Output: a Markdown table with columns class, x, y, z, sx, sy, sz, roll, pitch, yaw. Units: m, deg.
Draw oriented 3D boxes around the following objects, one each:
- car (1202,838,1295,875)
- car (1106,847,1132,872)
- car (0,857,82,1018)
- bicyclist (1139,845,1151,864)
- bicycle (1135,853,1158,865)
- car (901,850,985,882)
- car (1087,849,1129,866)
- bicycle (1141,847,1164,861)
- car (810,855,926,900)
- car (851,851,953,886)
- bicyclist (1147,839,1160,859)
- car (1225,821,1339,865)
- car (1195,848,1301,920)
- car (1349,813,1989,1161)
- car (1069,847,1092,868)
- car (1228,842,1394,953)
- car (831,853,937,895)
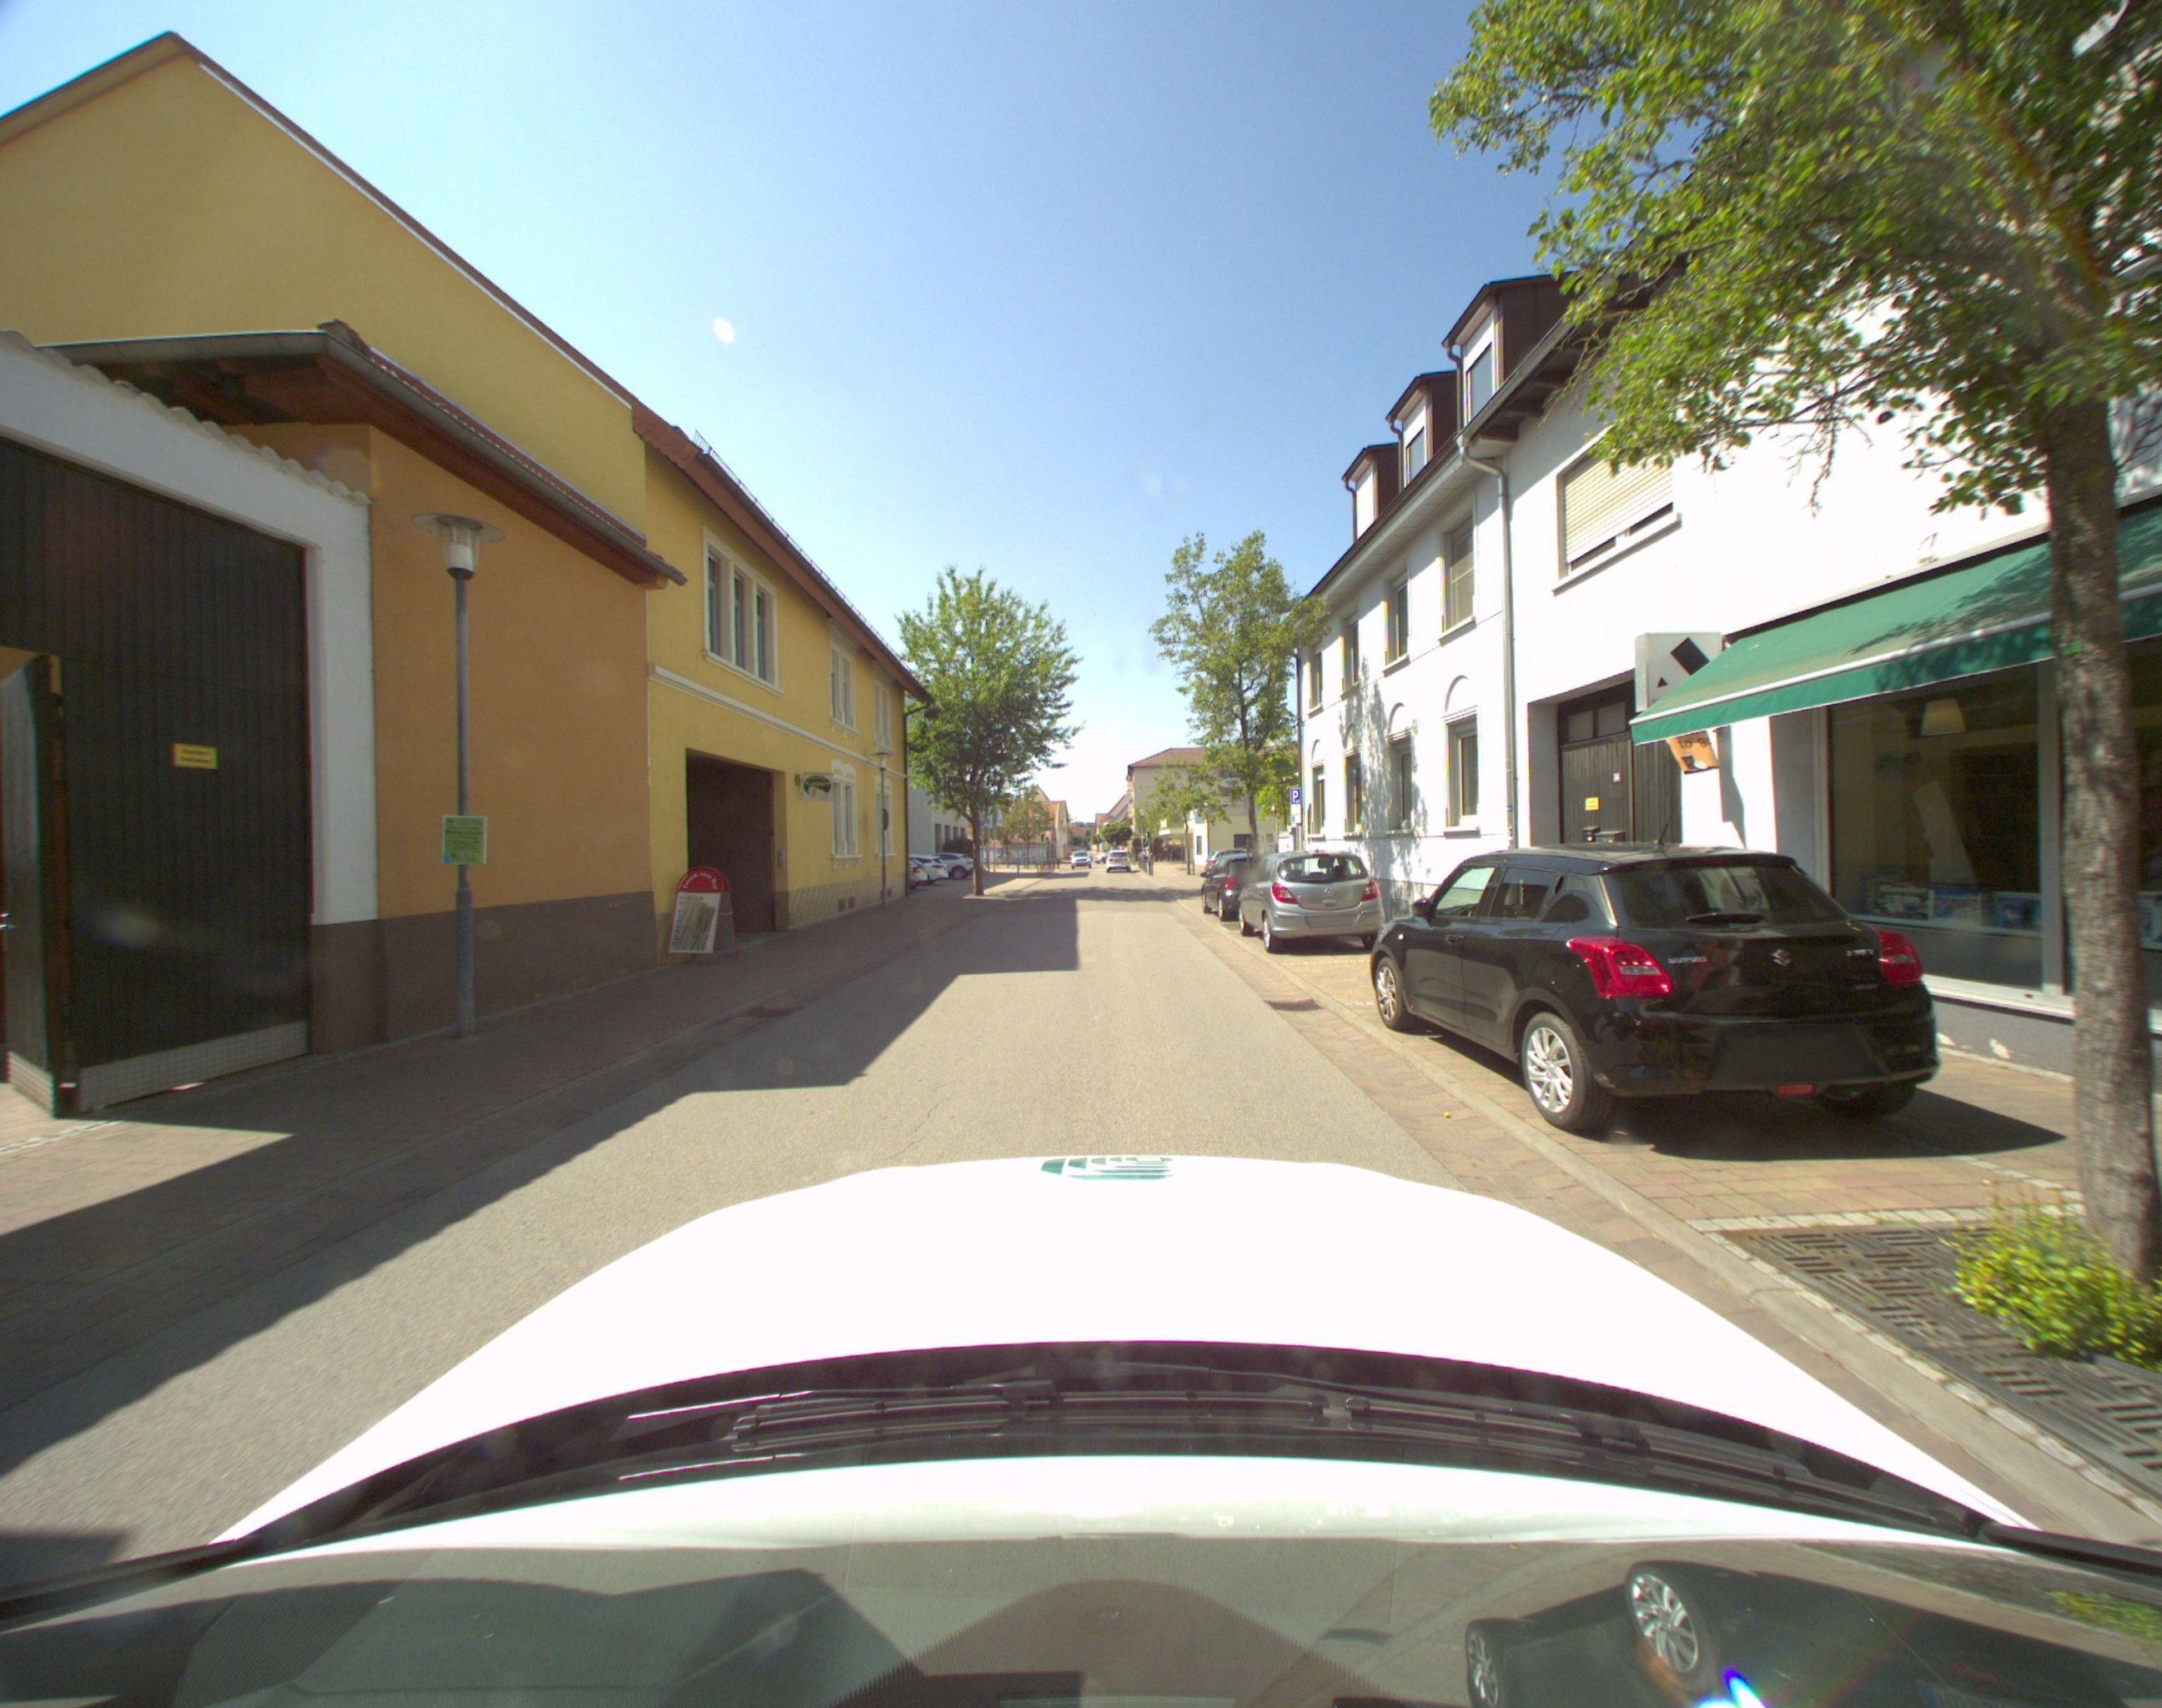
| class | x | y | z | sx | sy | sz | roll | pitch | yaw |
| --- | --- | --- | --- | --- | --- | --- | --- | --- | --- |
| car | 9.192 | 0.137 | 44.916 | 4.568 | 1.512 | 1.913 | -6 | 1 | -5 |
| car | 2.816 | 0.379 | 60.216 | 1.826 | 1.651 | 4.003 | -2 | 1 | 2 |
| car | -12.237 | 0.912 | 8.310 | 1.778 | 1.661 | 3.486 | -4 | 1 | -38 |
| bicyclist | 5.564 | 0.048 | 70.702 | 0.763 | 1.581 | 0.665 | -2 | 0 | -24 |
| bicycle | 5.677 | 0.409 | 70.756 | 1.899 | 0.958 | 0.670 | -2 | 0 | -25 |
| car | -8.102 | 0.672 | 48.121 | 4.492 | 1.554 | 2.148 | -3 | 1 | 0 |
| car | 3.072 | 0.360 | 91.778 | 4.459 | 1.464 | 1.865 | -6 | 2 | -39 |
| bicycle | 6.304 | 0.012 | 72.104 | 1.900 | 0.957 | 0.670 | -7 | 2 | -26 |
| car | -8.342 | 0.897 | 32.194 | 3.978 | 1.431 | 1.971 | -3 | 2 | -3 |
| car | -8.659 | 0.678 | 39.751 | 4.488 | 1.554 | 1.935 | -1 | 0 | 1 |
| bicyclist | 6.386 | -0.443 | 72.151 | 0.763 | 1.664 | 0.665 | -7 | 2 | -26 |
| car | 8.989 | -0.522 | 36.640 | 4.528 | 1.440 | 1.837 | -6 | 2 | -5 |
| car | 3.763 | 0.626 | 18.960 | 1.698 | 1.481 | 3.922 | -1 | 0 | 1 |
| car | 3.339 | 0.598 | 5.639 | 1.731 | 1.513 | 3.736 | -3 | 0 | 1 |
| car | -0.006 | 0.270 | 72.952 | 1.844 | 1.573 | 4.002 | -4 | 1 | 2 |
| car | 3.556 | 0.594 | 13.359 | 1.710 | 1.481 | 4.099 | -2 | 0 | 3 |
| car | -8.317 | 0.836 | 34.696 | 3.975 | 1.451 | 1.807 | -3 | 2 | -1 |
